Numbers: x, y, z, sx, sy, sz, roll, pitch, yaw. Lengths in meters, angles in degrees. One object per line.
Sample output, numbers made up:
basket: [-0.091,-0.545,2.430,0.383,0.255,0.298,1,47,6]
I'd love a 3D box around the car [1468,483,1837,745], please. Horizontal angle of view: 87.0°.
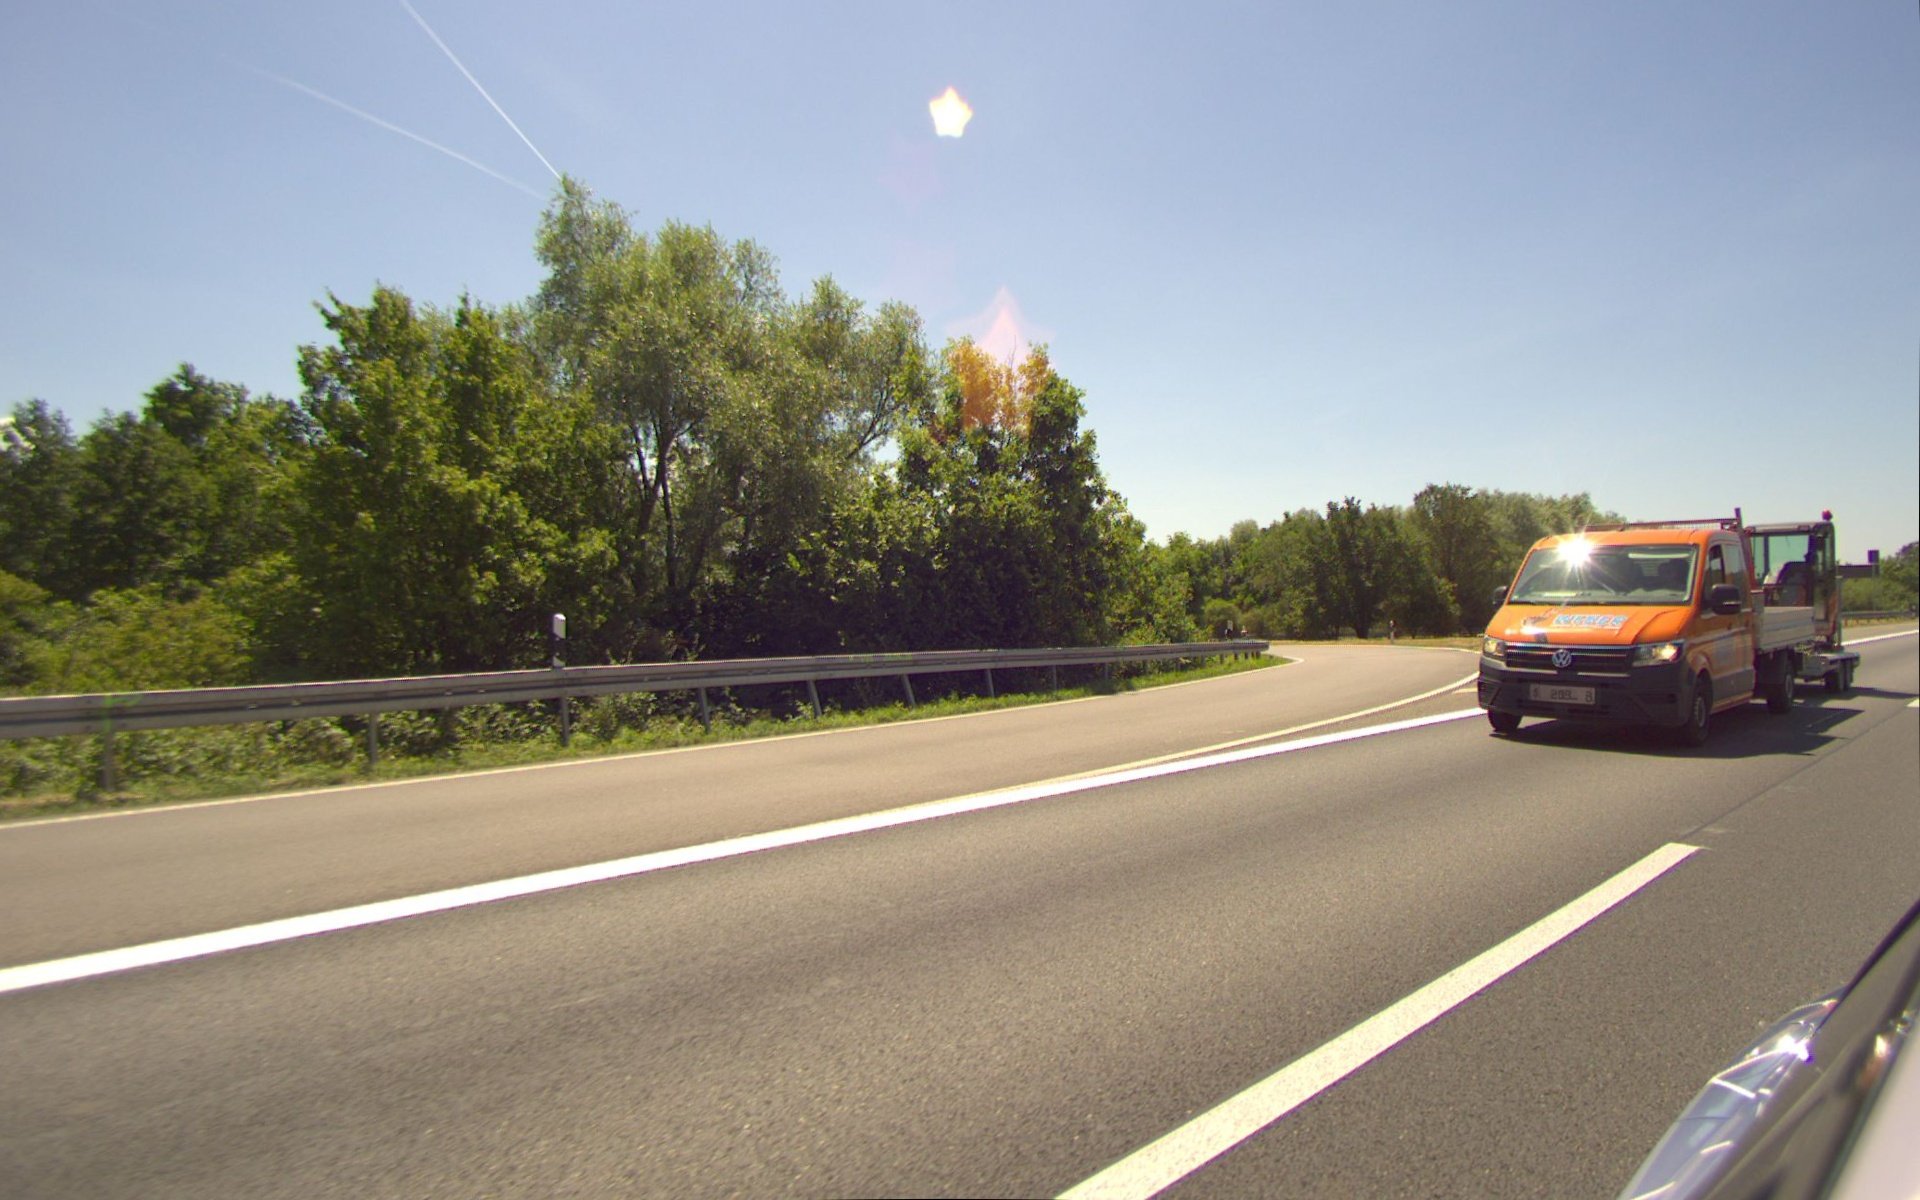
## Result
car: [8.836,0.119,12.501,7.099,2.436,1.997,0,0,-41]

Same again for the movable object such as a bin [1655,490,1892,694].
movable object such as a bin: [13.338,-0.122,16.494,4.677,2.851,2.178,0,-1,-41]
